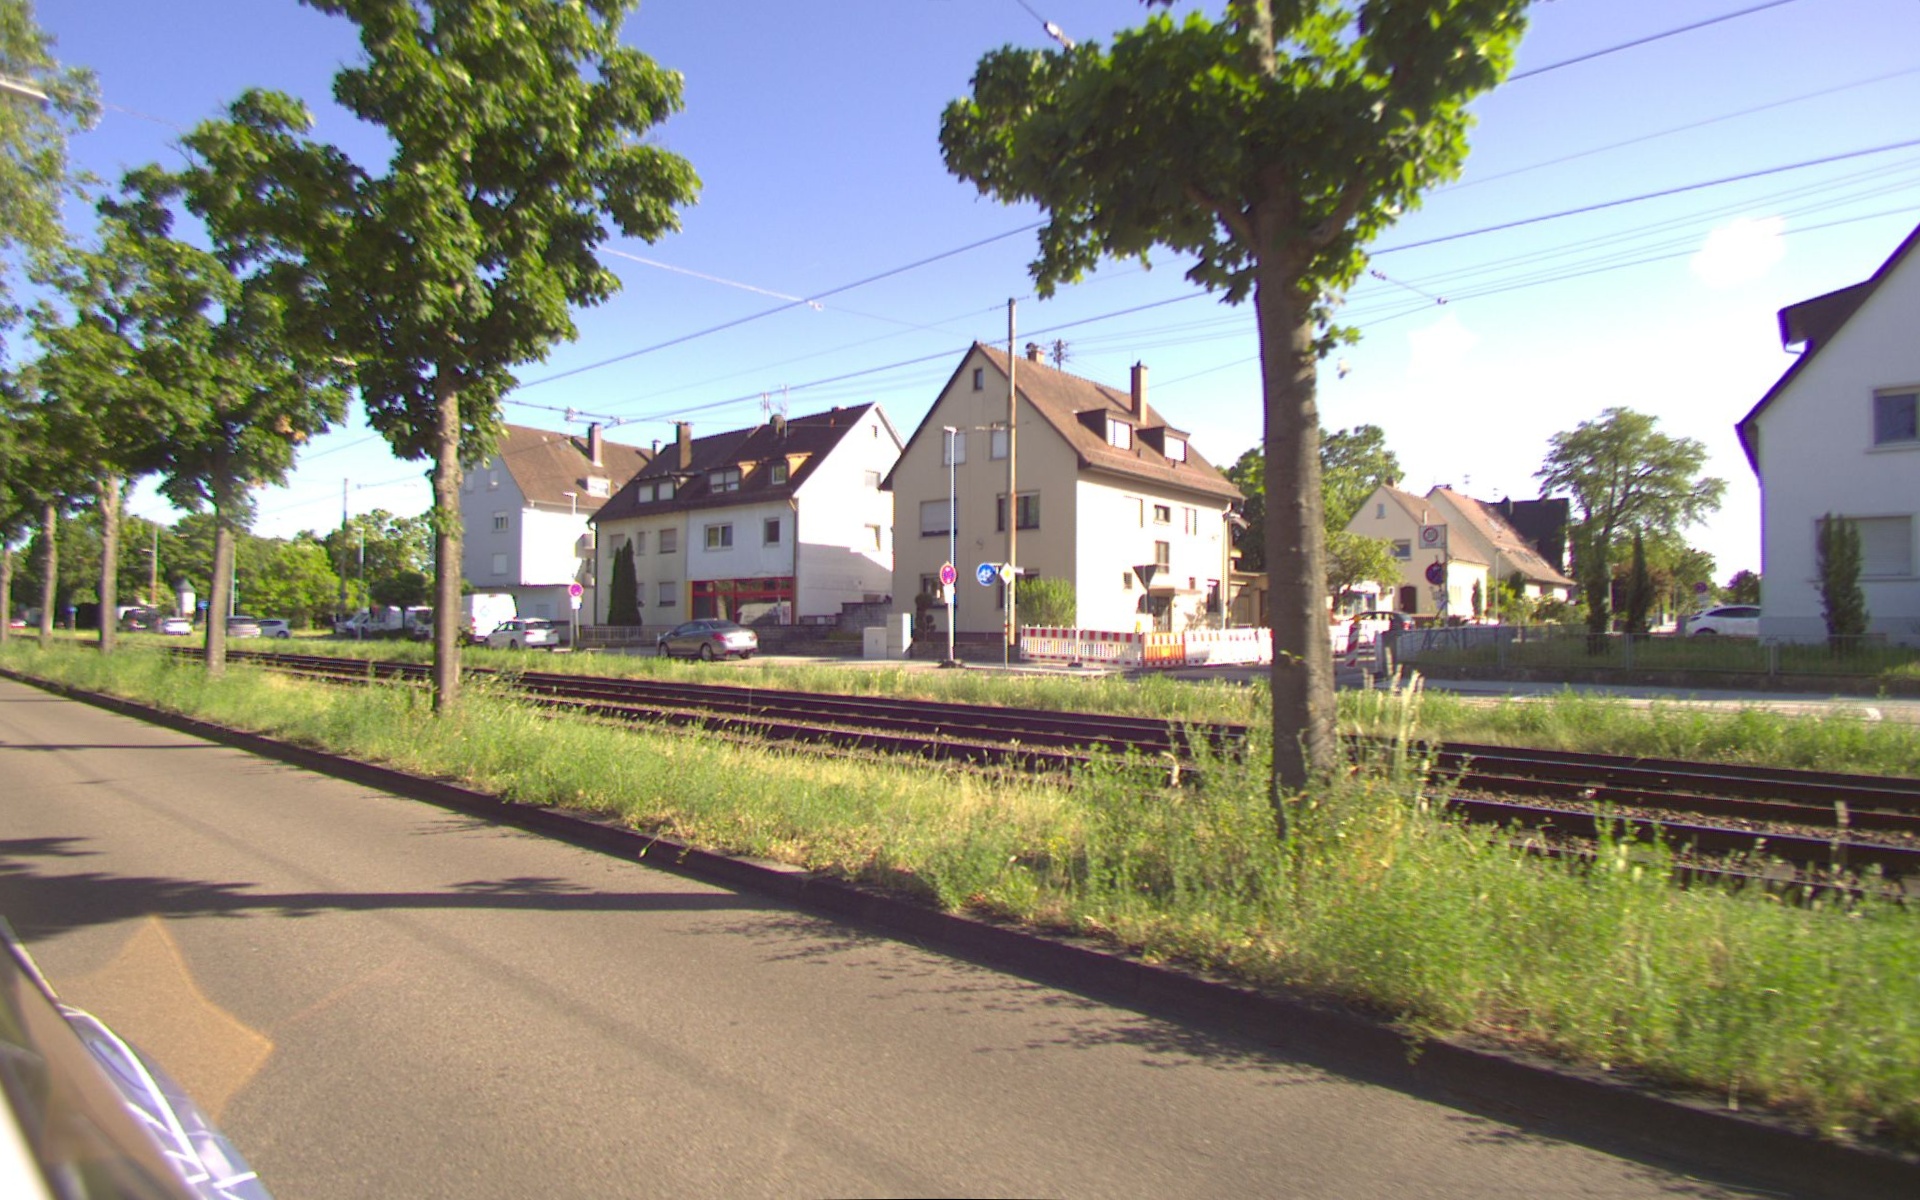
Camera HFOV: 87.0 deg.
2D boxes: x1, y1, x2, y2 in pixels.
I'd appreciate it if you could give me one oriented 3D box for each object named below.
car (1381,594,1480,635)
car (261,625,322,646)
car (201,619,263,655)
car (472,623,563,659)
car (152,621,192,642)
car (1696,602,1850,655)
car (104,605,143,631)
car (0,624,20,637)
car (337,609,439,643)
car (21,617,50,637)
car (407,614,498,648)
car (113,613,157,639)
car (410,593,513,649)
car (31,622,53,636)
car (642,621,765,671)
[{"bbox_3d":[24.587,0.740,52.983,4.334,2.029,1.972,-1,0,42],"label":"car"},{"bbox_3d":[-50.078,2.665,75.868,3.571,1.489,1.752,1,-2,-44],"label":"car"},{"bbox_3d":[-40.519,2.024,56.310,4.523,1.897,1.895,-1,0,42],"label":"car"},{"bbox_3d":[-19.435,1.752,44.352,4.655,1.423,1.806,-1,0,41],"label":"car"},{"bbox_3d":[-67.405,2.659,86.536,4.772,1.619,1.804,-1,0,42],"label":"car"},{"bbox_3d":[29.049,1.008,36.257,1.969,1.789,4.006,1,-2,-41],"label":"car"},{"bbox_3d":[-83.238,1.738,100.704,6.133,2.515,1.981,-1,0,41],"label":"car"},{"bbox_3d":[-113.019,3.600,120.143,3.998,1.420,1.659,-1,-2,41],"label":"car"},{"bbox_3d":[-46.638,2.081,82.700,2.326,2.526,7.003,-1,-1,36],"label":"car"},{"bbox_3d":[-126.393,3.690,138.307,6.795,2.600,2.202,-2,-1,41],"label":"car"},{"bbox_3d":[-30.531,1.840,60.963,1.992,1.960,4.585,-1,-1,30],"label":"car"},{"bbox_3d":[-77.538,2.403,95.119,6.462,2.394,2.160,-1,0,41],"label":"car"},{"bbox_3d":[-23.857,0.957,48.306,6.671,2.478,1.973,-1,0,41],"label":"car"},{"bbox_3d":[-120.944,3.814,133.262,4.530,1.635,1.605,-1,0,41],"label":"car"},{"bbox_3d":[-8.966,1.552,35.239,4.496,1.593,1.972,-2,-1,42],"label":"car"}]
